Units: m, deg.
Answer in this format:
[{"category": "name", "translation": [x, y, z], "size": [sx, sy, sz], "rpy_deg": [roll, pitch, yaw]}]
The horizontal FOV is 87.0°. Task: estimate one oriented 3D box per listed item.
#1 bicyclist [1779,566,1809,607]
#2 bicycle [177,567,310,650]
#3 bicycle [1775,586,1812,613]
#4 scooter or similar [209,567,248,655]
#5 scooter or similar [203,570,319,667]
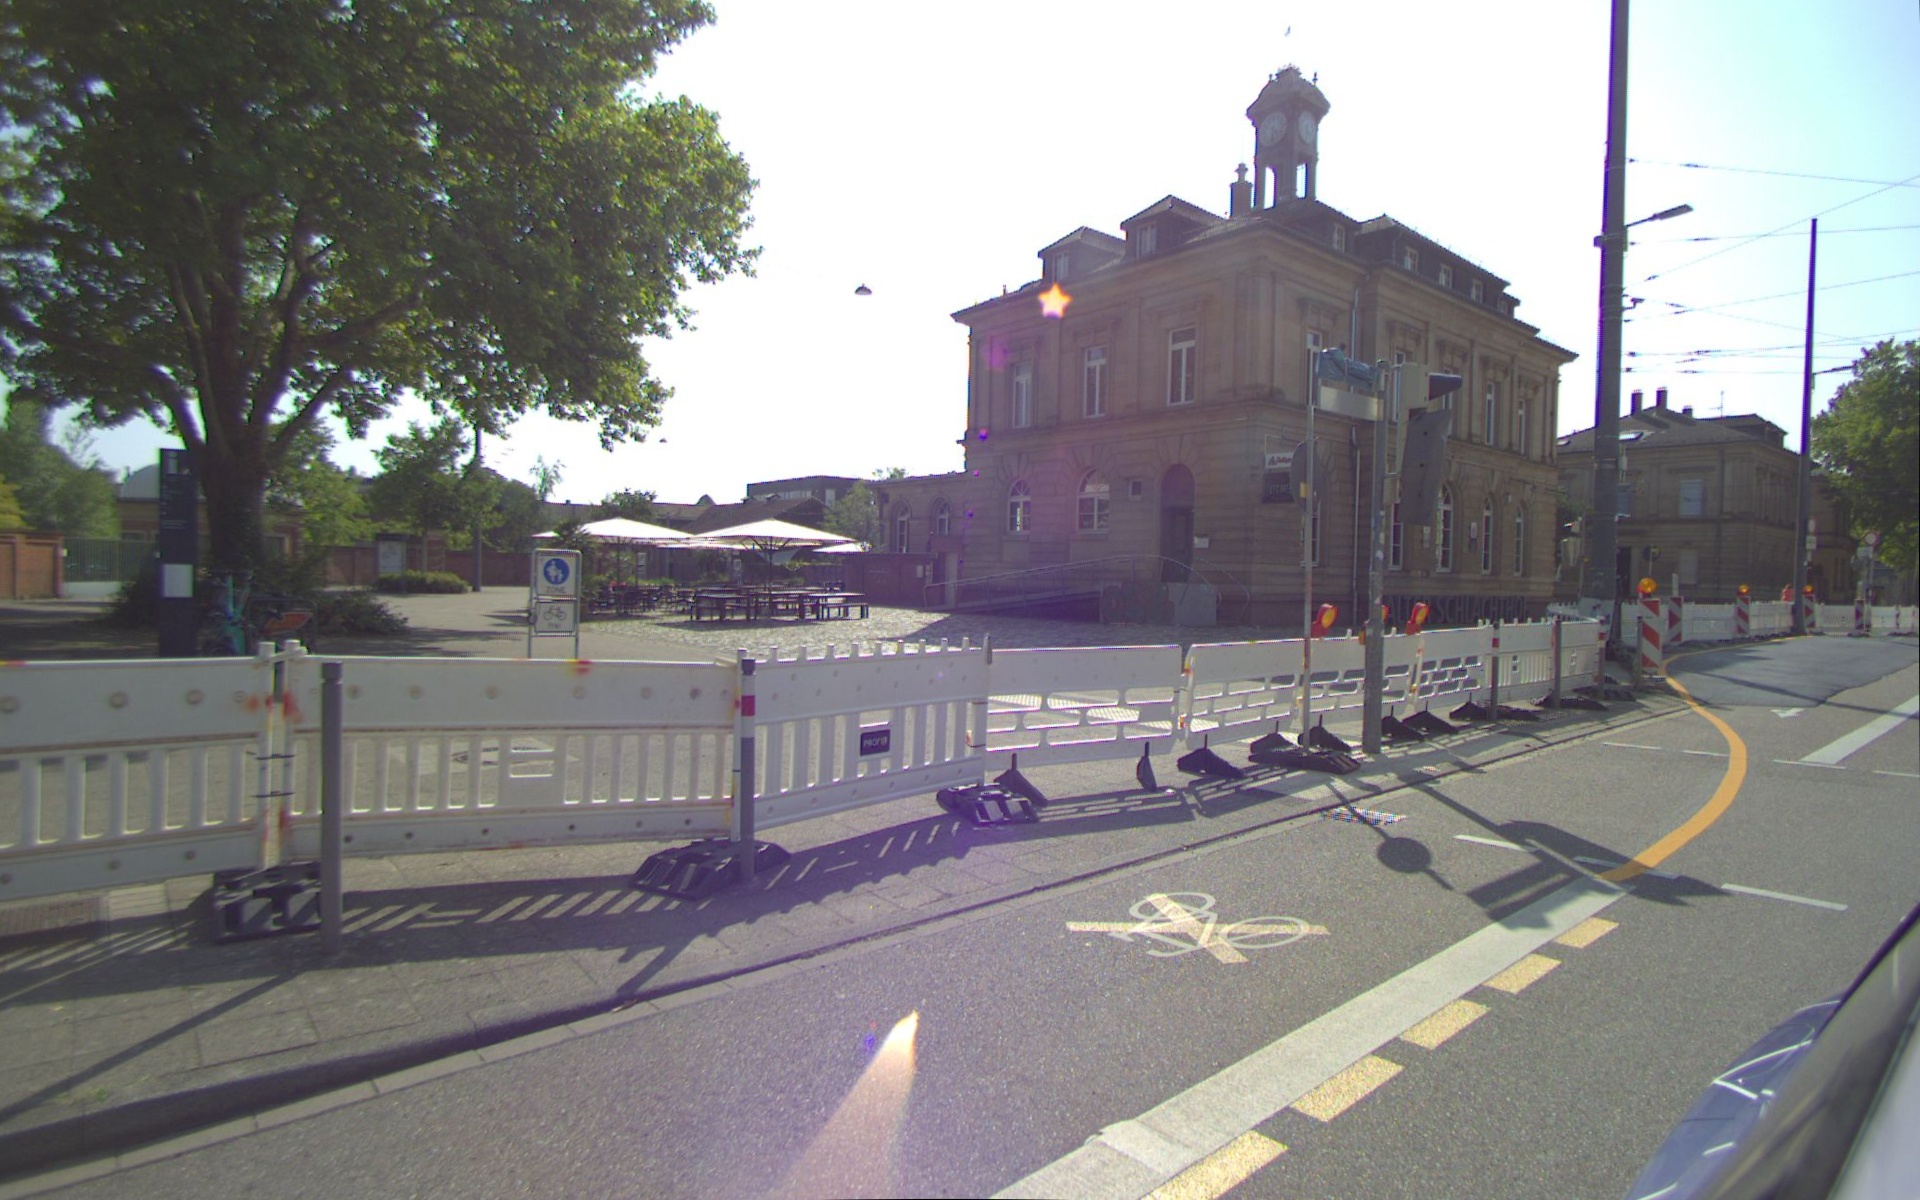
[{"category": "bicyclist", "translation": [34.158, -0.560, 41.437], "size": [0.838, 1.645, 0.736], "rpy_deg": [0, 2, -39]}, {"category": "bicycle", "translation": [-10.712, 0.112, 15.173], "size": [1.598, 1.180, 0.500], "rpy_deg": [0, 2, -35]}, {"category": "bicycle", "translation": [34.128, -0.019, 41.443], "size": [2.094, 1.045, 0.743], "rpy_deg": [0, 2, -39]}, {"category": "scooter or similar", "translation": [-10.066, 0.127, 13.920], "size": [0.307, 1.146, 1.093], "rpy_deg": [0, 2, -42]}, {"category": "scooter or similar", "translation": [-8.921, 0.219, 12.938], "size": [1.203, 1.180, 0.410], "rpy_deg": [0, 2, -35]}]
